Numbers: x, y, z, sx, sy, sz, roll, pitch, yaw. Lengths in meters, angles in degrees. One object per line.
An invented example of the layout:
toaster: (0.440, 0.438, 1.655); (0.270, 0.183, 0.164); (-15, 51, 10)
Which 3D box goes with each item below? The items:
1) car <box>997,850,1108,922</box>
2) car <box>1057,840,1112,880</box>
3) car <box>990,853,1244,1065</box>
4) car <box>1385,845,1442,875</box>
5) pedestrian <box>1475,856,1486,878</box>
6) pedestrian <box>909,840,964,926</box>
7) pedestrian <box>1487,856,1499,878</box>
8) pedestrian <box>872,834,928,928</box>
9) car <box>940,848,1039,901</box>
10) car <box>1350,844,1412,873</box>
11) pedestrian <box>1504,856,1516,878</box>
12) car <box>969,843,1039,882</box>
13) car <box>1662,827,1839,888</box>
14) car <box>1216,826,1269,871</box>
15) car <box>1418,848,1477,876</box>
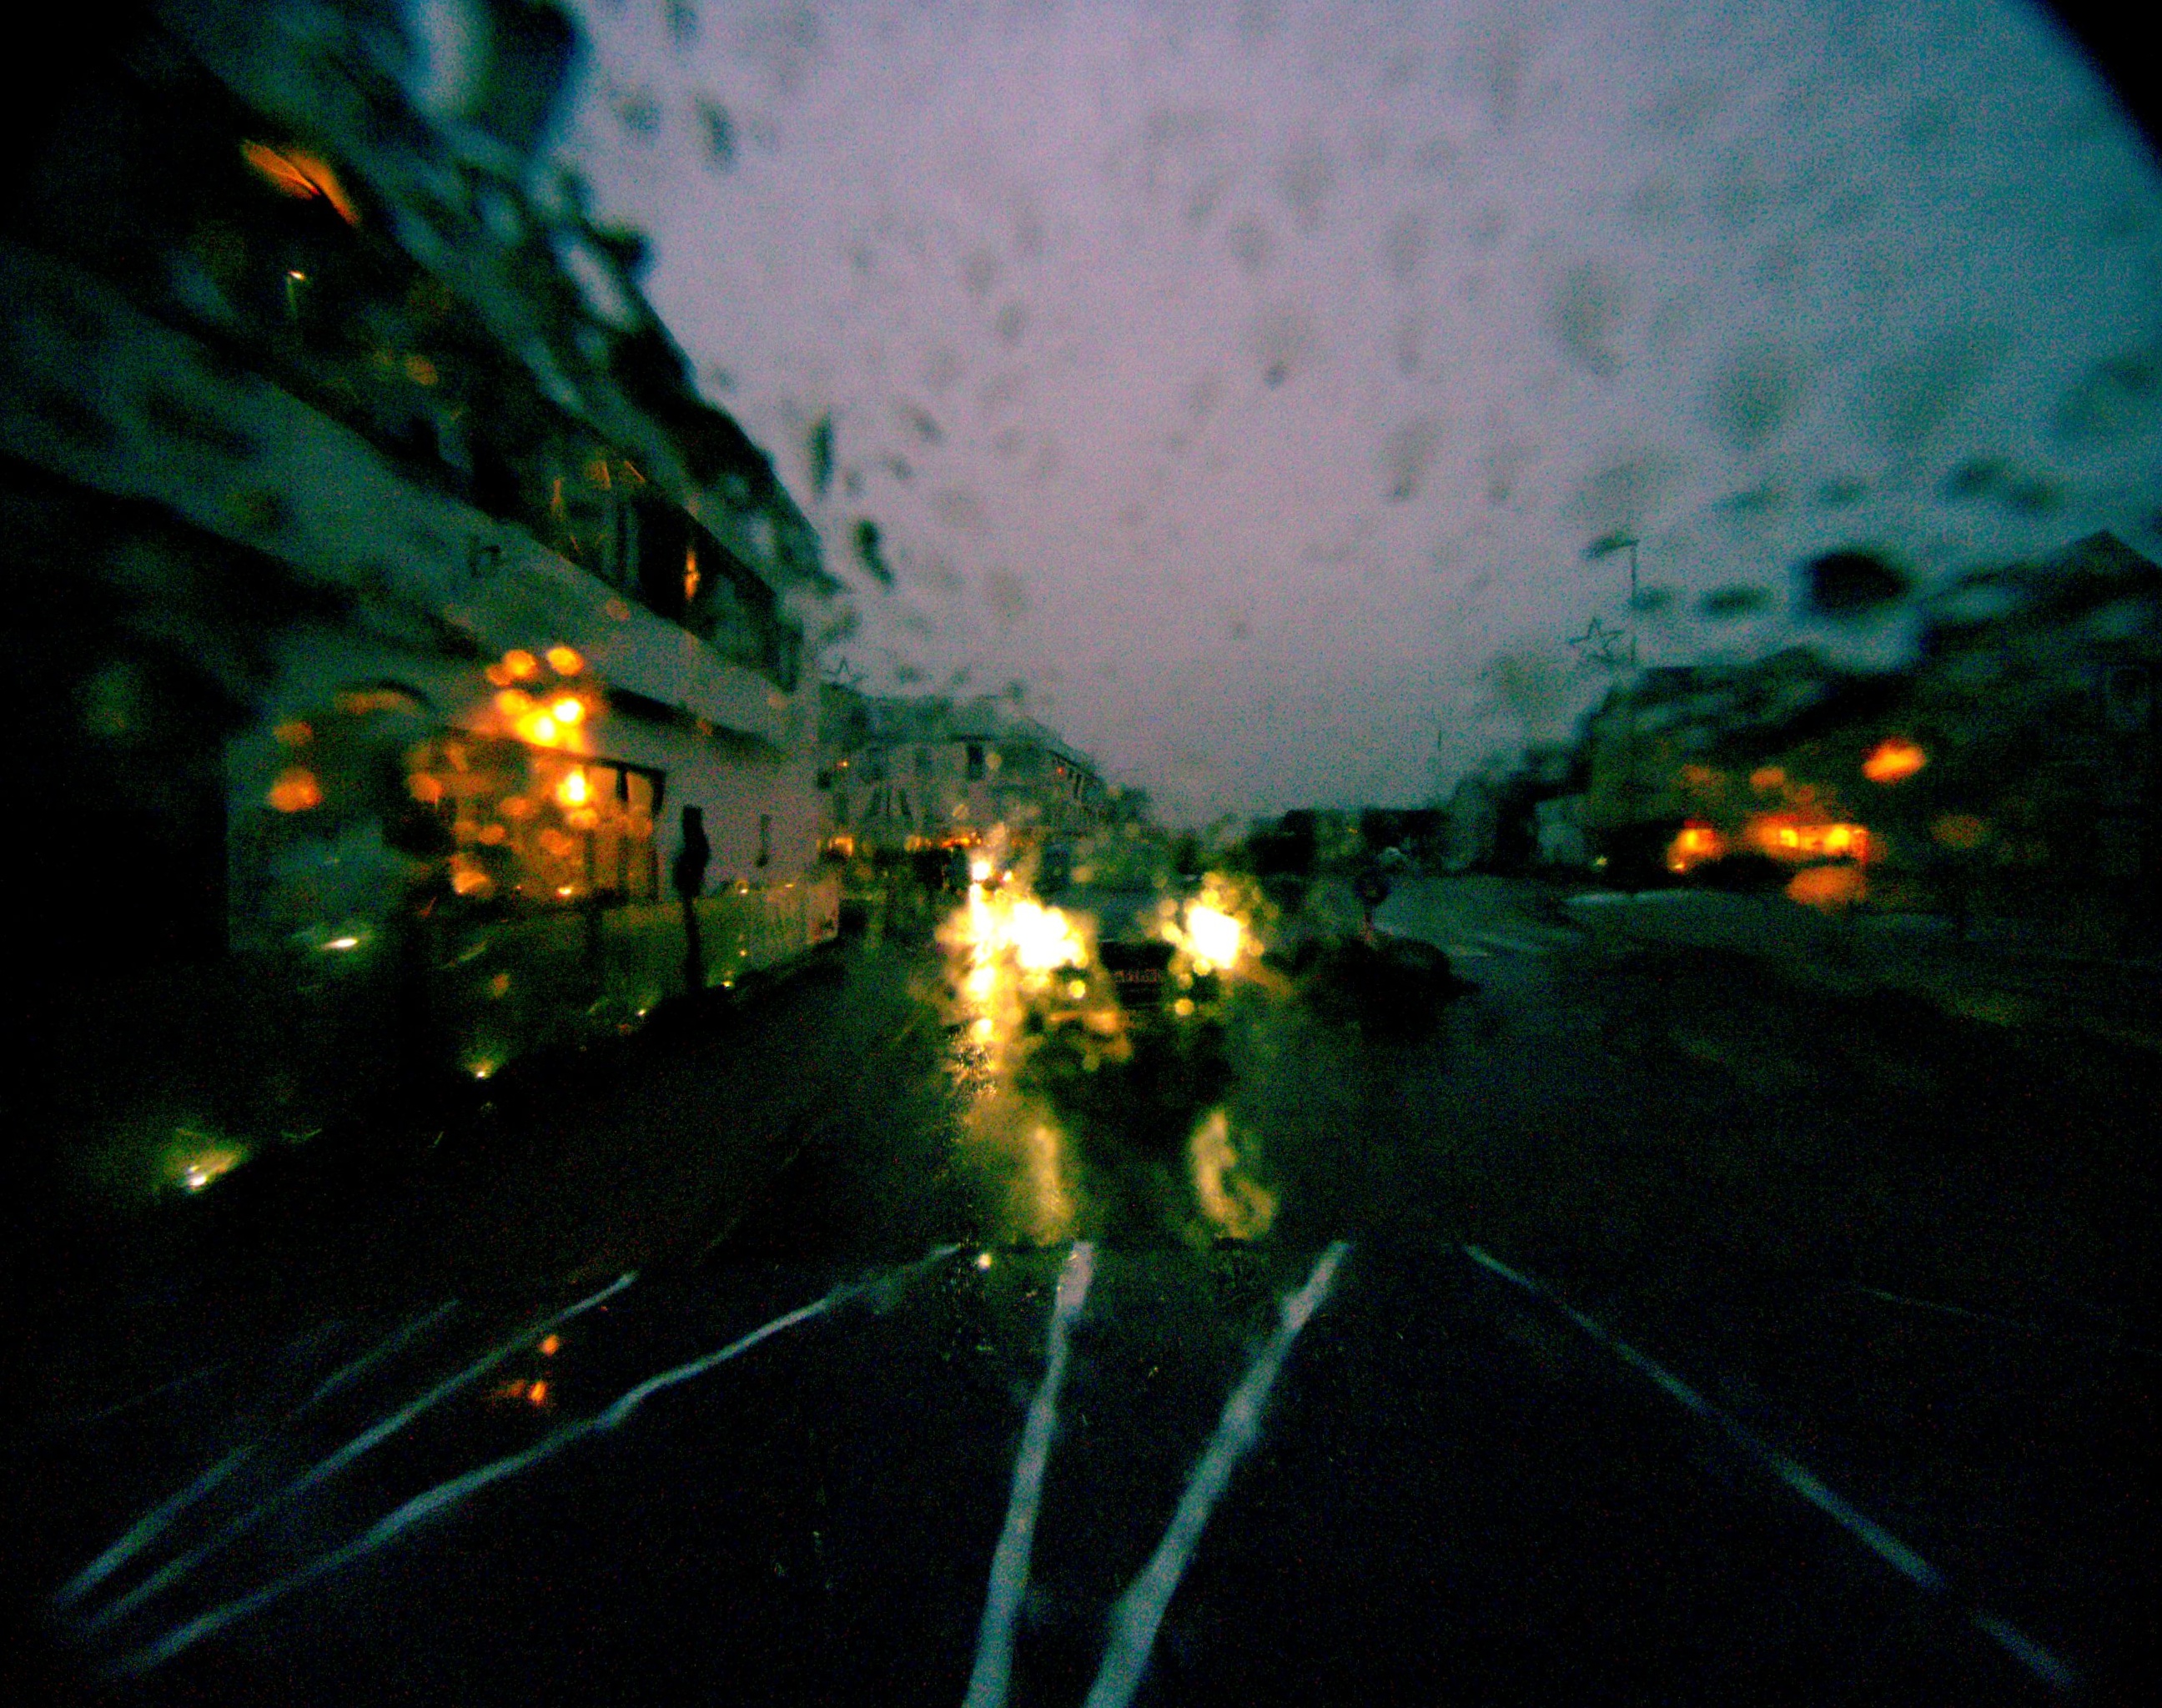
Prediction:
car: (-0.817, 0.689, 18.741); (1.765, 1.471, 4.013); (-3, 2, -16)
car: (0.150, 0.200, 32.478); (2.172, 1.469, 3.998); (-2, 2, 1)
car: (0.288, 0.827, 8.023); (1.958, 1.576, 4.109); (-1, 1, 0)
car: (24.645, 0.403, 56.472); (1.926, 2.003, 3.966); (-3, 2, -13)
pedestrian: (29.660, 0.974, 56.462); (0.582, 1.602, 0.500); (-2, 3, 5)
pedestrian: (-3.067, 0.589, 16.163); (0.789, 1.752, 0.770); (1, 4, 44)
pedestrian: (30.659, 0.972, 56.527); (0.582, 1.602, 0.500); (-2, 3, 5)
pedestrian: (-3.732, 0.530, 15.679); (0.789, 1.856, 0.711); (1, 4, 44)
car: (-3.223, 0.601, 25.784); (2.031, 1.471, 4.548); (-3, 3, -24)
car: (22.021, 0.298, 55.909); (1.974, 1.984, 3.991); (-3, 3, -26)
pedestrian: (31.609, 0.965, 55.949); (0.582, 1.602, 0.500); (-2, 3, 5)
car: (-3.850, 0.378, 38.689); (1.822, 1.736, 4.005); (-1, 3, 23)
car: (23.895, 0.129, 27.384); (4.453, 2.003, 2.003); (-1, 3, 29)
car: (8.076, -0.316, 37.712); (2.055, 1.976, 4.541); (-1, 3, 18)
car: (27.321, 0.570, 56.759); (1.936, 1.871, 3.866); (-3, 2, -13)
